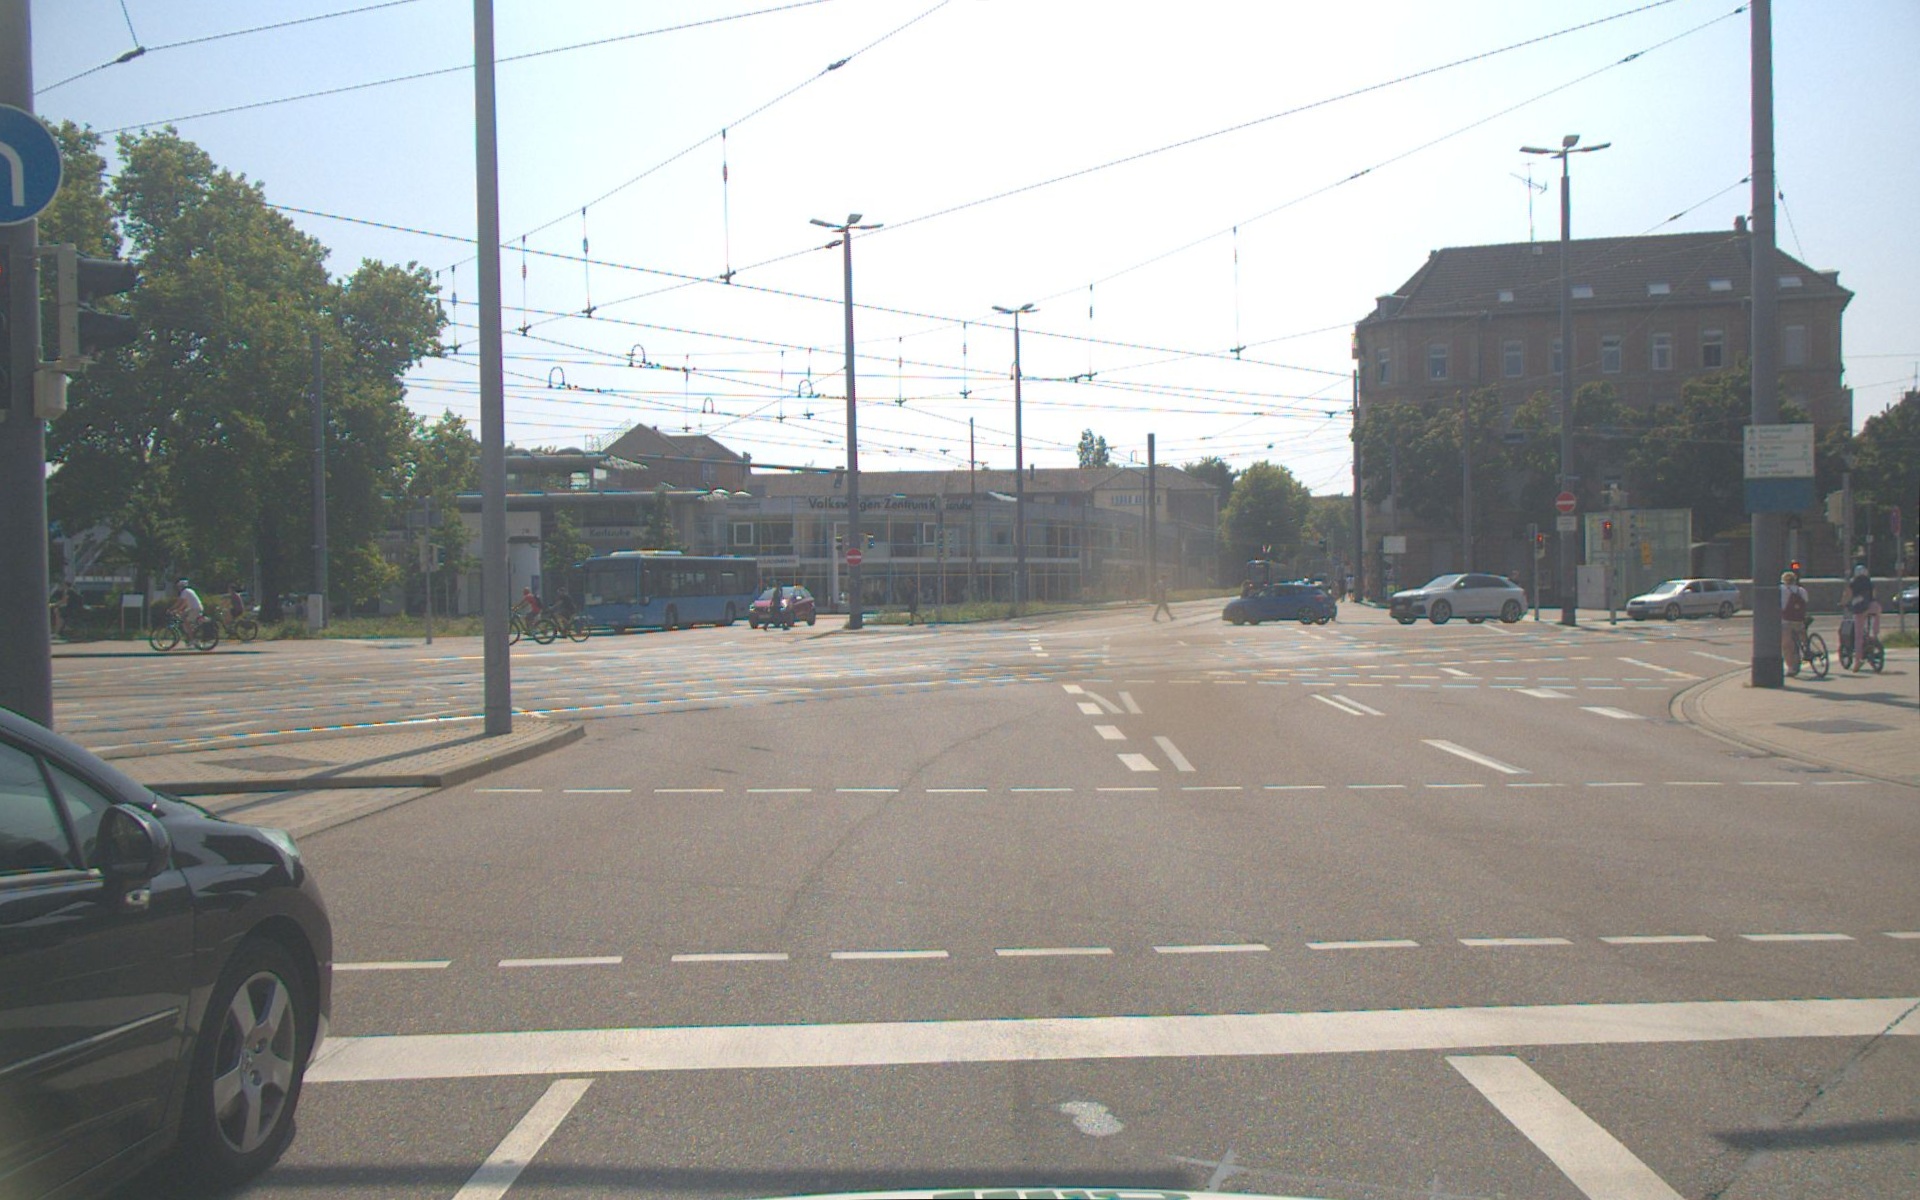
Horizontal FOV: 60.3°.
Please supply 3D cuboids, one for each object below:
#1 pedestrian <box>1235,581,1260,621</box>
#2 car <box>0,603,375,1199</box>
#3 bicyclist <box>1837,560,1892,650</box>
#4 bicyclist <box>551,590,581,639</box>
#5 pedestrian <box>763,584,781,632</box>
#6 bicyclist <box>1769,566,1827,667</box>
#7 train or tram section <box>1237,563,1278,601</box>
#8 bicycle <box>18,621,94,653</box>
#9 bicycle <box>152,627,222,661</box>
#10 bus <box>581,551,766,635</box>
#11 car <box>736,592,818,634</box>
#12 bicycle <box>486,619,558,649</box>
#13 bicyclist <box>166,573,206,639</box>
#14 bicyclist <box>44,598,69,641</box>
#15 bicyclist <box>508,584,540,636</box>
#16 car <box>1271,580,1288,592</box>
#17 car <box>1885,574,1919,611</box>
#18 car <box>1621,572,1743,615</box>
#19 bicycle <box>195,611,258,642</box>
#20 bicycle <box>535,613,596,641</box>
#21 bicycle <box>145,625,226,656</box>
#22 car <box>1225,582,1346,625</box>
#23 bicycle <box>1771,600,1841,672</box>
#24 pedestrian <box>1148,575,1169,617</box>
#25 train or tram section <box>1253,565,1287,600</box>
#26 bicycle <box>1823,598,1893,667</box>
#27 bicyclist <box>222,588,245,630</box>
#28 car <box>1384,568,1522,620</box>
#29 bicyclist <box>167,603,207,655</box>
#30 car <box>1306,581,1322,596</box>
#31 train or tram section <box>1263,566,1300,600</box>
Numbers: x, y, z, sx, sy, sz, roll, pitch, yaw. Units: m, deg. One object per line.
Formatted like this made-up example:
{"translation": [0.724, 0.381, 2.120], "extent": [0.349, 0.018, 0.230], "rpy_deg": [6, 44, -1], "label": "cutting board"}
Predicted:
{"translation": [11.372, 0.036, 65.377], "extent": [0.834, 1.572, 0.528], "rpy_deg": [-1, 0, -9], "label": "pedestrian"}
{"translation": [-2.603, 0.727, 2.779], "extent": [1.729, 1.412, 3.782], "rpy_deg": [1, 0, 3], "label": "car"}
{"translation": [14.546, 0.073, 26.617], "extent": [0.519, 1.417, 0.894], "rpy_deg": [-1, 0, 11], "label": "bicyclist"}
{"translation": [-12.462, 0.453, 52.316], "extent": [0.858, 1.501, 0.543], "rpy_deg": [-1, 0, -19], "label": "bicyclist"}
{"translation": [-6.685, 0.286, 58.728], "extent": [0.544, 1.713, 0.451], "rpy_deg": [-1, 0, -20], "label": "pedestrian"}
{"translation": [13.124, 0.254, 25.917], "extent": [0.614, 1.544, 0.712], "rpy_deg": [-1, 0, 11], "label": "bicyclist"}
{"translation": [29.405, -1.747, 163.157], "extent": [2.534, 3.578, 10.904], "rpy_deg": [-1, 0, 17], "label": "train or tram section"}
{"translation": [-27.985, 1.141, 51.214], "extent": [1.998, 0.958, 0.466], "rpy_deg": [-1, 0, -14], "label": "bicycle"}
{"translation": [-22.939, 1.309, 49.119], "extent": [1.778, 0.958, 0.567], "rpy_deg": [-1, 0, -3], "label": "bicycle"}
{"translation": [-11.480, -0.318, 67.969], "extent": [2.508, 3.136, 12.032], "rpy_deg": [-1, 0, 16], "label": "bus"}
{"translation": [-7.141, 0.484, 64.941], "extent": [1.713, 1.579, 4.002], "rpy_deg": [-1, 0, 17], "label": "car"}
{"translation": [-12.916, 1.007, 48.792], "extent": [2.014, 0.816, 0.478], "rpy_deg": [-1, 0, -14], "label": "bicycle"}
{"translation": [-22.035, 0.176, 47.082], "extent": [0.908, 1.839, 0.496], "rpy_deg": [-1, 0, -14], "label": "bicyclist"}
{"translation": [-27.941, 0.590, 51.165], "extent": [0.535, 1.316, 0.557], "rpy_deg": [-1, 0, -12], "label": "bicyclist"}
{"translation": [-12.853, 0.296, 48.785], "extent": [0.856, 1.509, 0.496], "rpy_deg": [-1, 0, -14], "label": "bicyclist"}
{"translation": [42.476, -1.809, 219.739], "extent": [1.760, 1.534, 4.002], "rpy_deg": [-1, 0, 19], "label": "car"}
{"translation": [39.387, -0.350, 65.973], "extent": [4.685, 1.440, 1.765], "rpy_deg": [-1, 0, -21], "label": "car"}
{"translation": [25.922, -0.238, 59.372], "extent": [4.122, 1.440, 1.762], "rpy_deg": [-1, 0, -25], "label": "car"}
{"translation": [-23.617, 0.854, 53.298], "extent": [1.783, 0.958, 0.414], "rpy_deg": [-1, 0, -14], "label": "bicycle"}
{"translation": [-12.485, 0.857, 52.311], "extent": [1.828, 0.816, 0.604], "rpy_deg": [-1, 0, -20], "label": "bicycle"}
{"translation": [-22.043, 1.156, 47.079], "extent": [2.014, 0.816, 0.478], "rpy_deg": [-1, 0, -14], "label": "bicycle"}
{"translation": [11.432, 0.120, 58.144], "extent": [3.909, 1.418, 1.594], "rpy_deg": [-1, 0, 27], "label": "car"}
{"translation": [13.164, 0.542, 25.766], "extent": [0.525, 1.073, 1.655], "rpy_deg": [-1, 0, 11], "label": "bicycle"}
{"translation": [7.771, -0.146, 64.699], "extent": [0.687, 1.631, 0.572], "rpy_deg": [-1, 0, -9], "label": "pedestrian"}
{"translation": [32.485, -1.804, 173.067], "extent": [2.533, 3.578, 9.665], "rpy_deg": [-1, 0, 17], "label": "train or tram section"}
{"translation": [14.631, 0.511, 26.983], "extent": [0.525, 1.073, 1.655], "rpy_deg": [-1, 0, 11], "label": "bicycle"}
{"translation": [-23.395, 0.283, 53.263], "extent": [0.535, 1.316, 0.557], "rpy_deg": [-1, 0, -12], "label": "bicyclist"}
{"translation": [16.468, -0.209, 55.226], "extent": [4.261, 1.646, 1.743], "rpy_deg": [-1, 0, -22], "label": "car"}
{"translation": [-22.957, 0.854, 49.127], "extent": [0.892, 1.534, 0.559], "rpy_deg": [-1, 0, -3], "label": "bicyclist"}
{"translation": [47.608, -1.549, 222.591], "extent": [1.781, 1.841, 4.002], "rpy_deg": [1, 0, 16], "label": "car"}
{"translation": [35.816, -1.899, 183.815], "extent": [2.534, 3.578, 12.979], "rpy_deg": [-1, 0, 17], "label": "train or tram section"}
